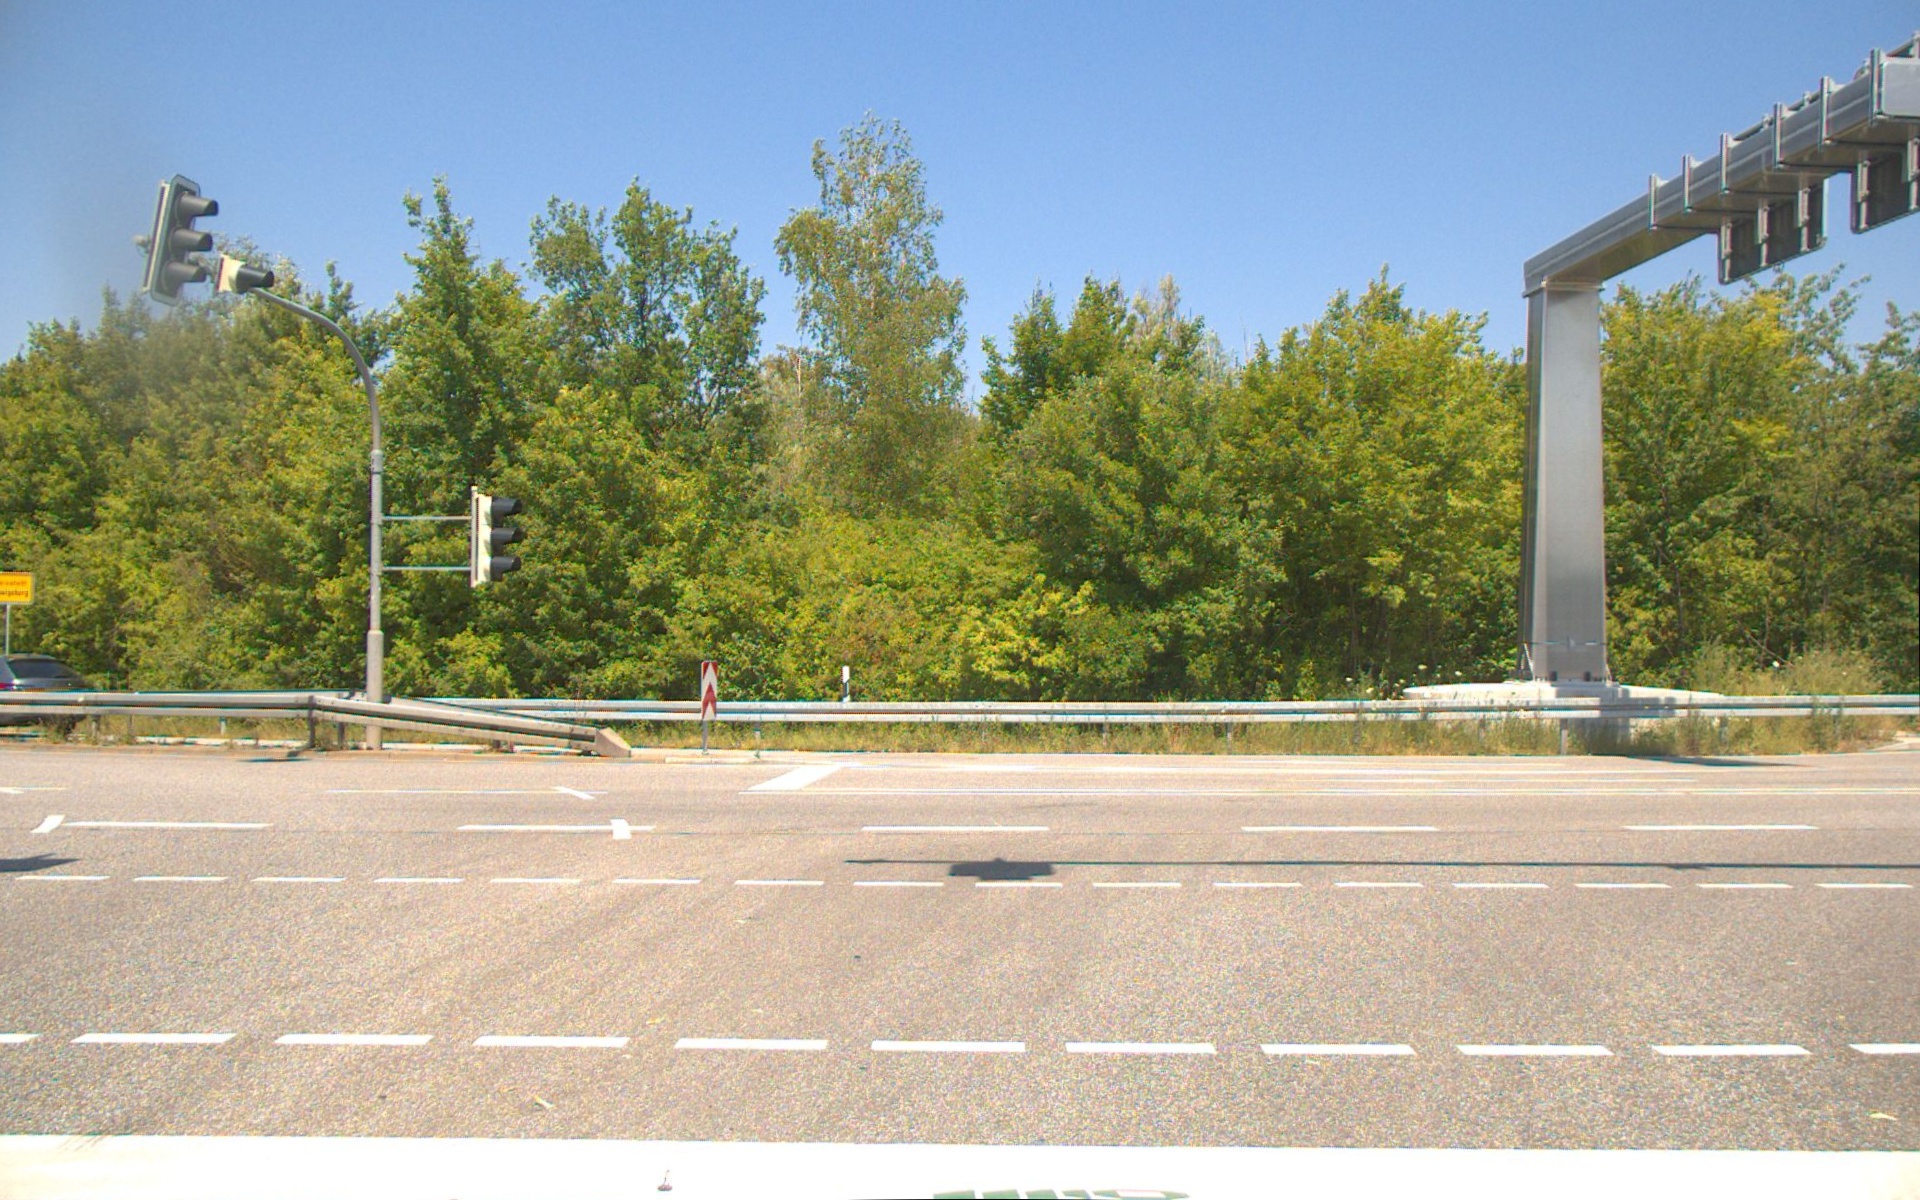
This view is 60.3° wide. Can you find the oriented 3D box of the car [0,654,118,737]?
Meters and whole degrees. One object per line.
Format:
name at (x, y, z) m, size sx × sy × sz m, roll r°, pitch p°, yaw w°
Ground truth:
car at (-18.058, 1.752, 30.817) m, size 4.309 × 1.459 × 1.811 m, roll 0°, pitch -4°, yaw 23°
